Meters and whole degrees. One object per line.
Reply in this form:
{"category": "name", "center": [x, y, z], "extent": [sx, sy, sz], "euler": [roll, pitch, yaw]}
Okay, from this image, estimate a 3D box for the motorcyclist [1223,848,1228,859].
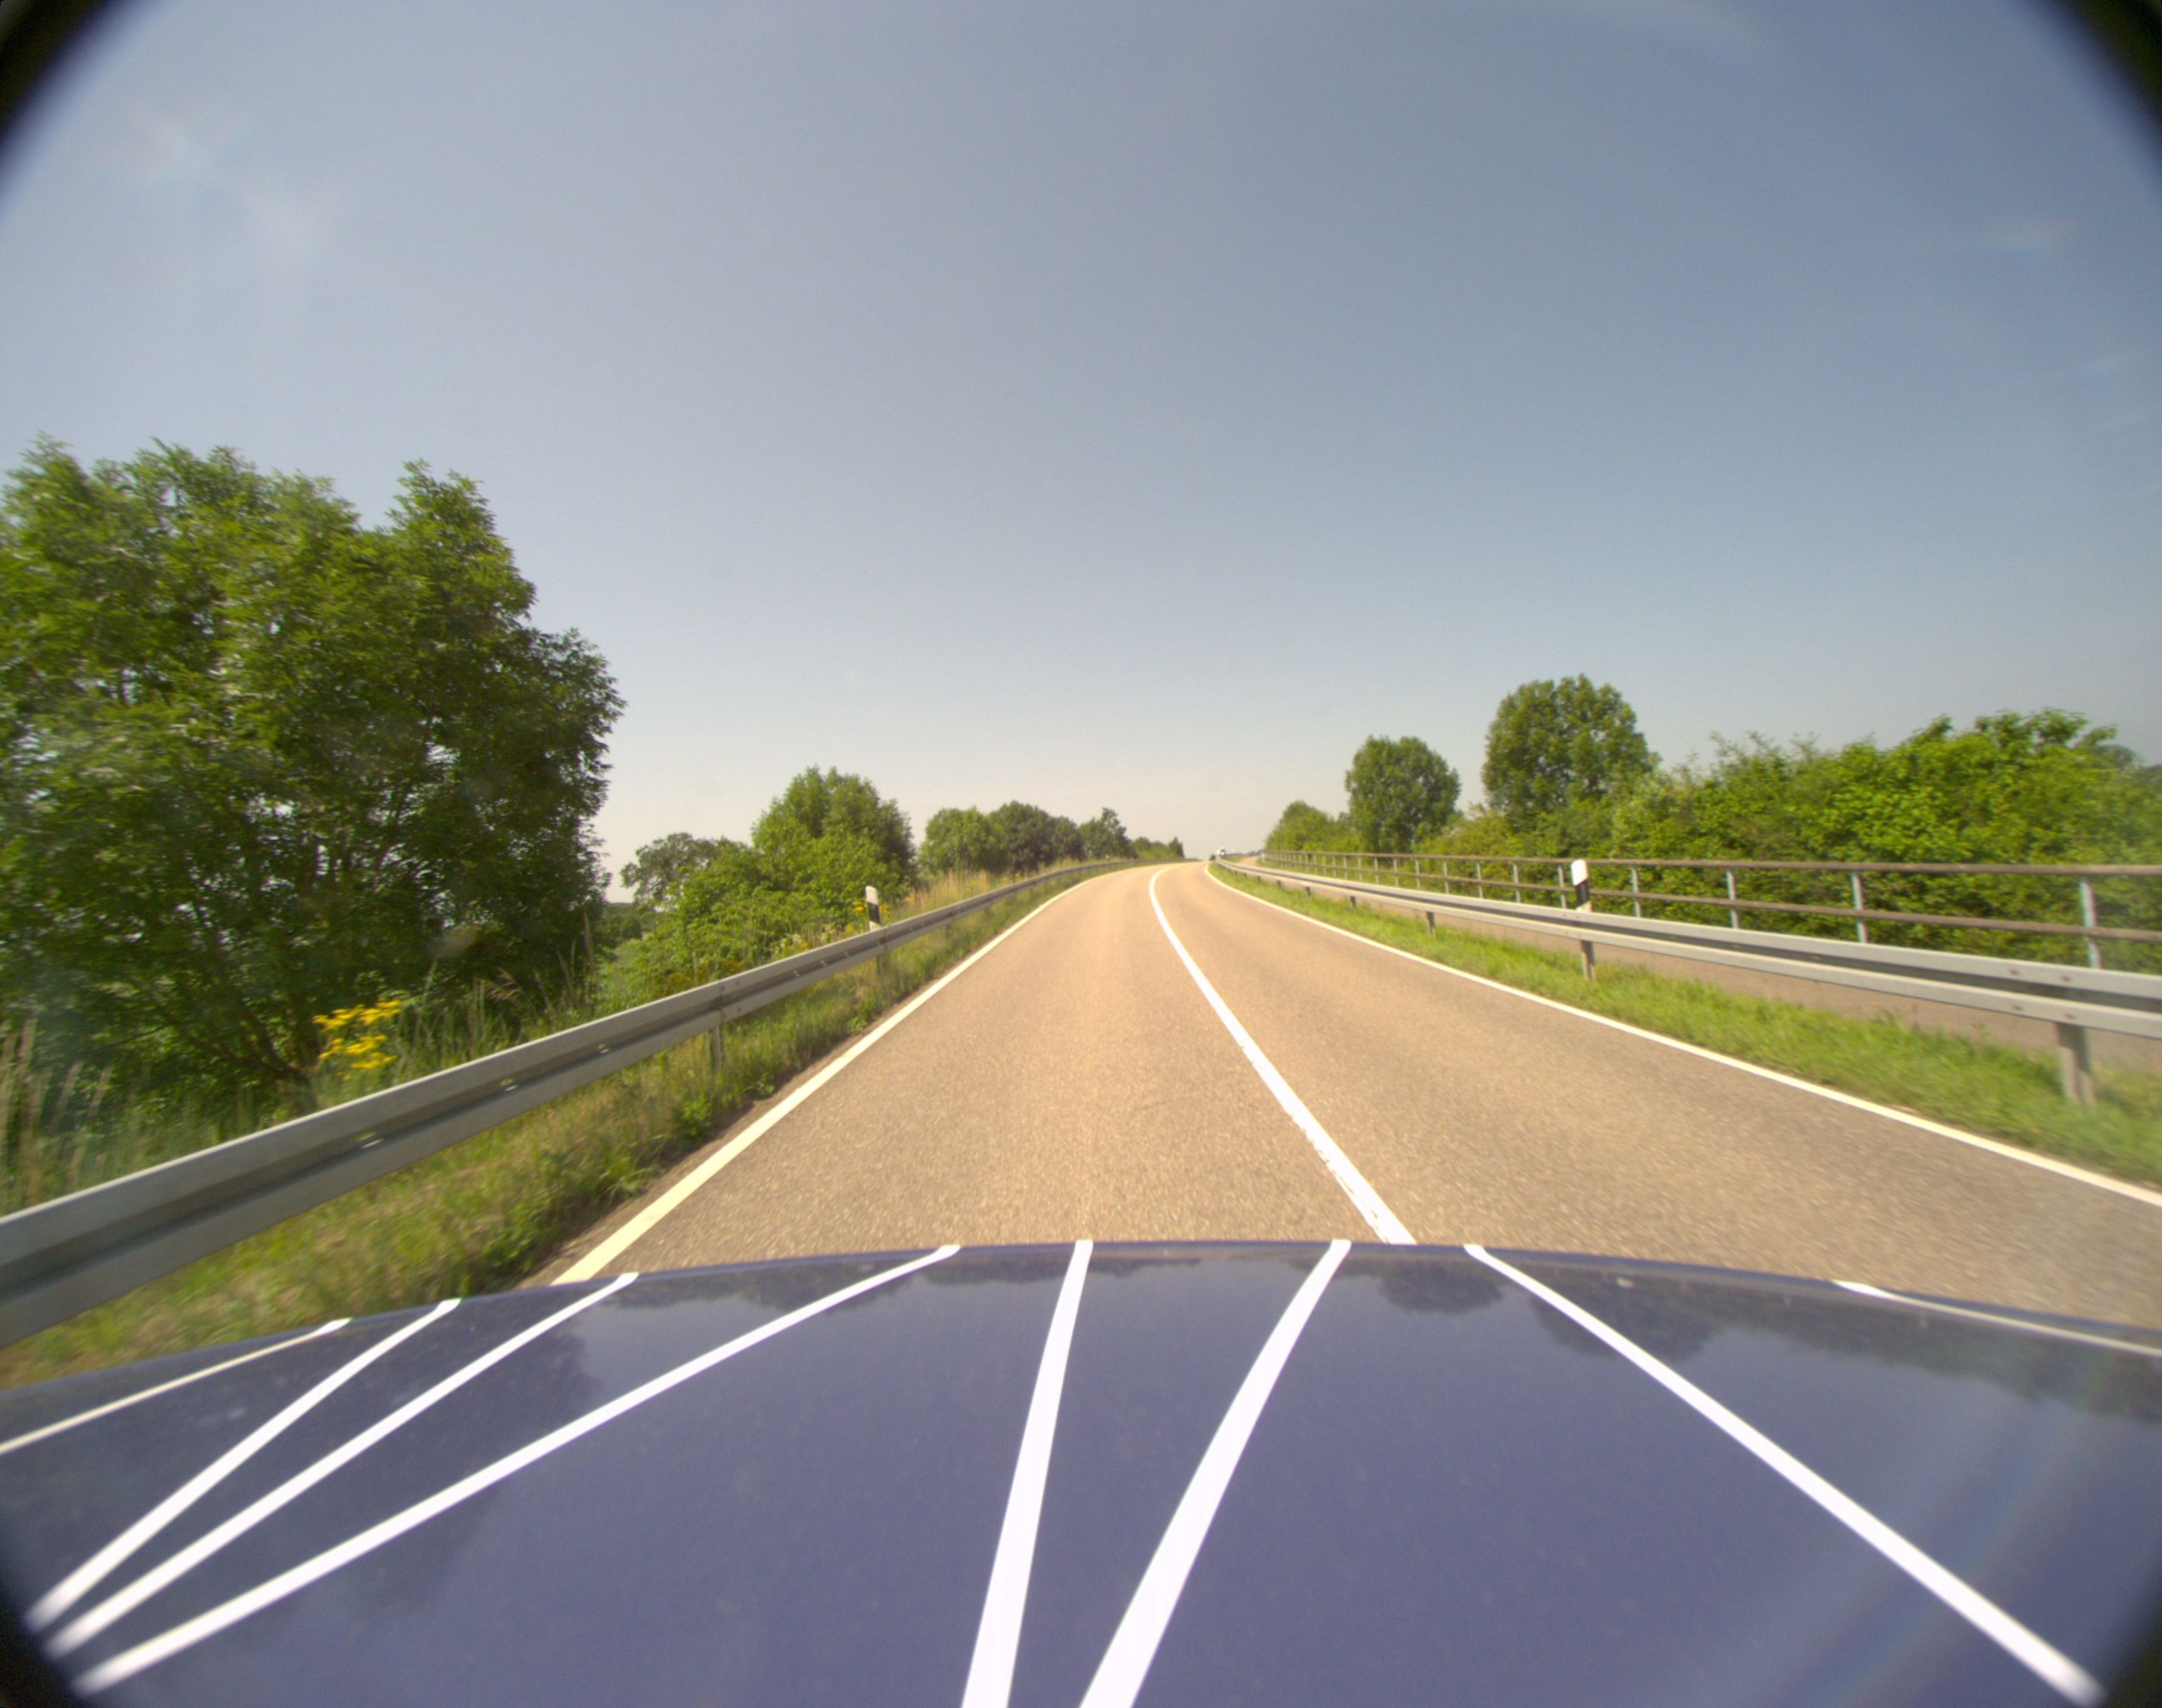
{"category": "motorcyclist", "center": [20.525, -0.025, 107.774], "extent": [0.655, 1.553, 0.776], "euler": [-1, 1, 11]}
